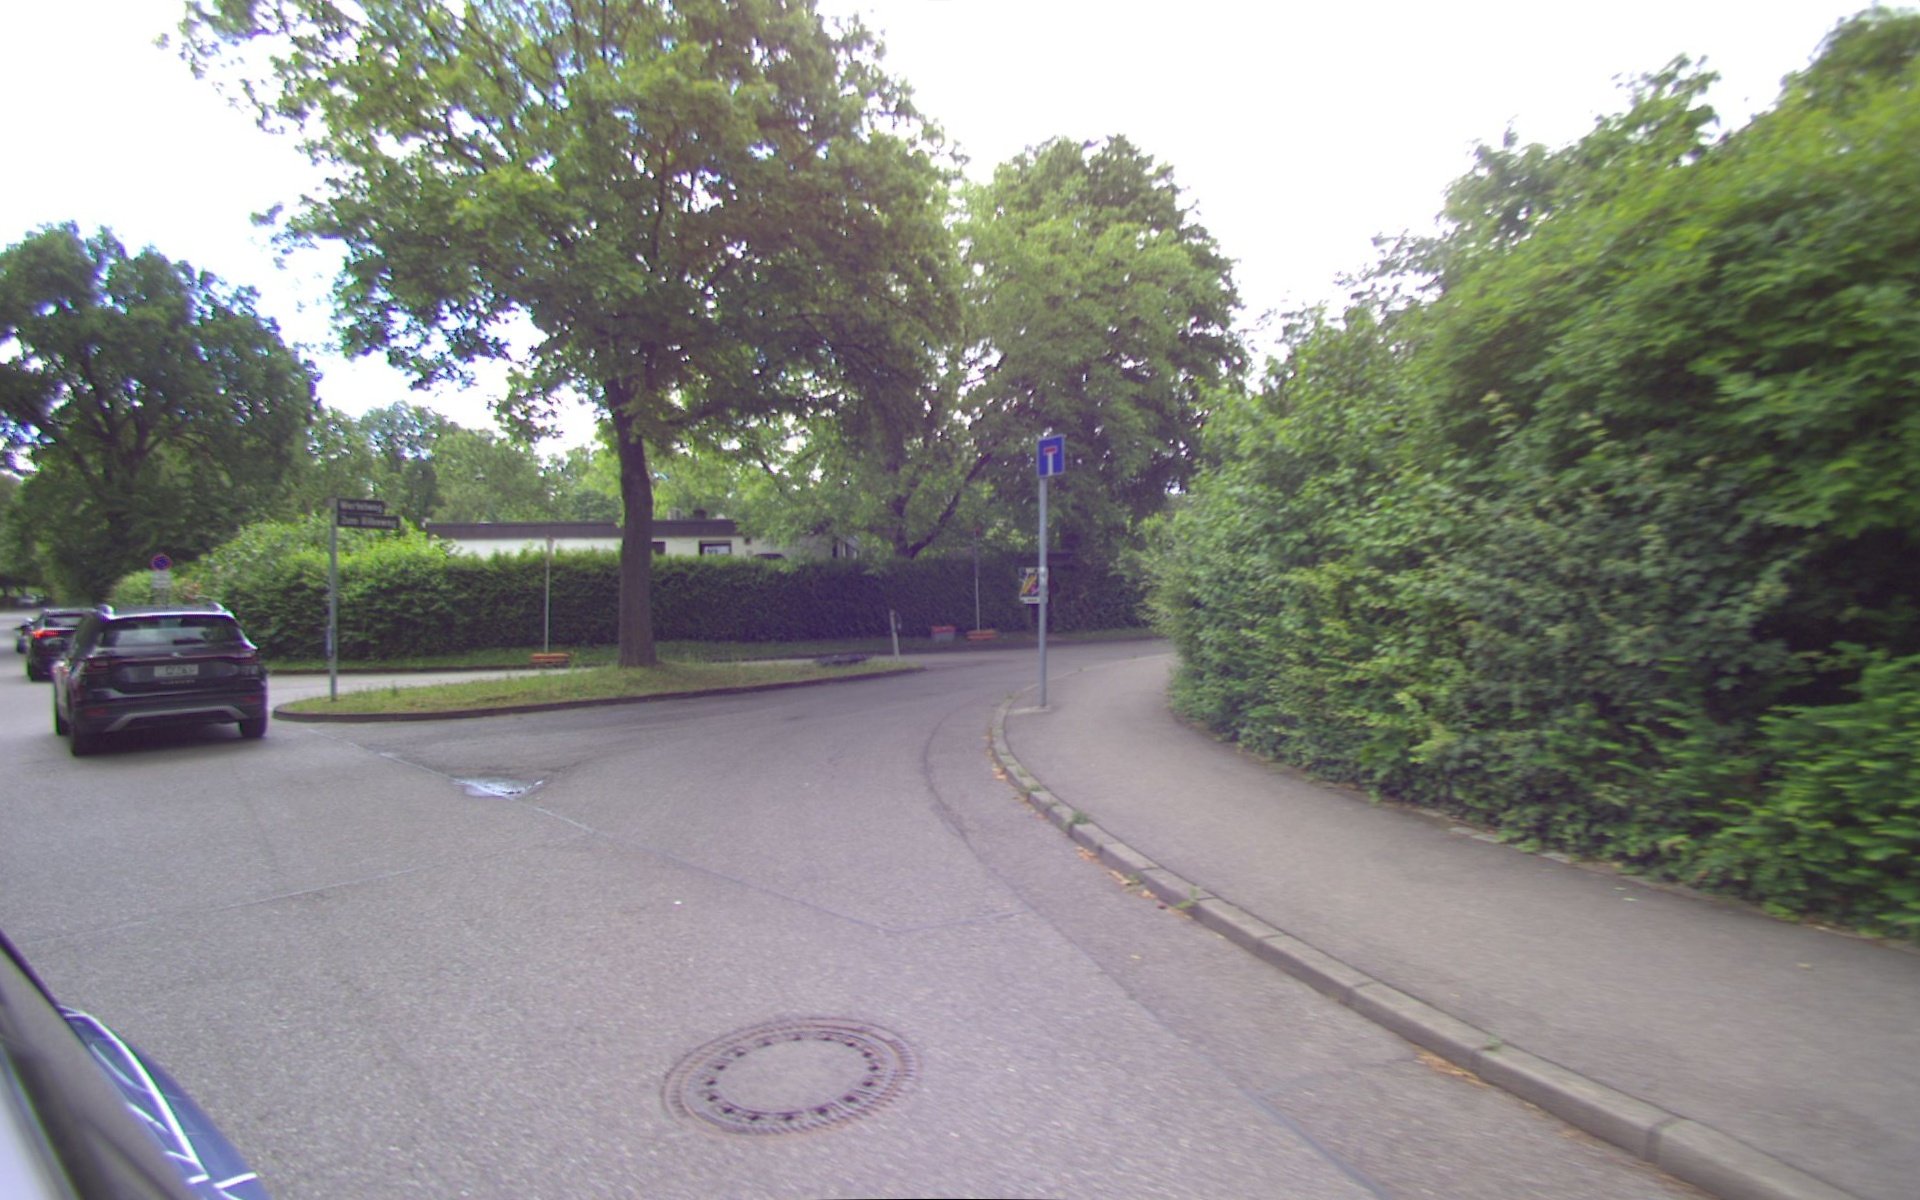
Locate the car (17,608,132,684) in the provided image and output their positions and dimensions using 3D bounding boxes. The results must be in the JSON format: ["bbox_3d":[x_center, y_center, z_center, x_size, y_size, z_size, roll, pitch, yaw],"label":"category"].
[{"bbox_3d":[-20.946,1.038,23.874,1.782,1.603,4.298,-1,0,-45],"label":"car"}]

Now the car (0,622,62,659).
[{"bbox_3d":[-36.537,1.561,39.818,1.759,1.316,4.302,-1,0,-41],"label":"car"}]

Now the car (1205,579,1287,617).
[{"bbox_3d":[11.608,-0.071,41.350,1.946,1.386,4.002,-3,0,-3],"label":"car"}]

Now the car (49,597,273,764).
[{"bbox_3d":[-9.655,0.825,12.091,1.781,1.603,4.301,-1,0,-42],"label":"car"}]
